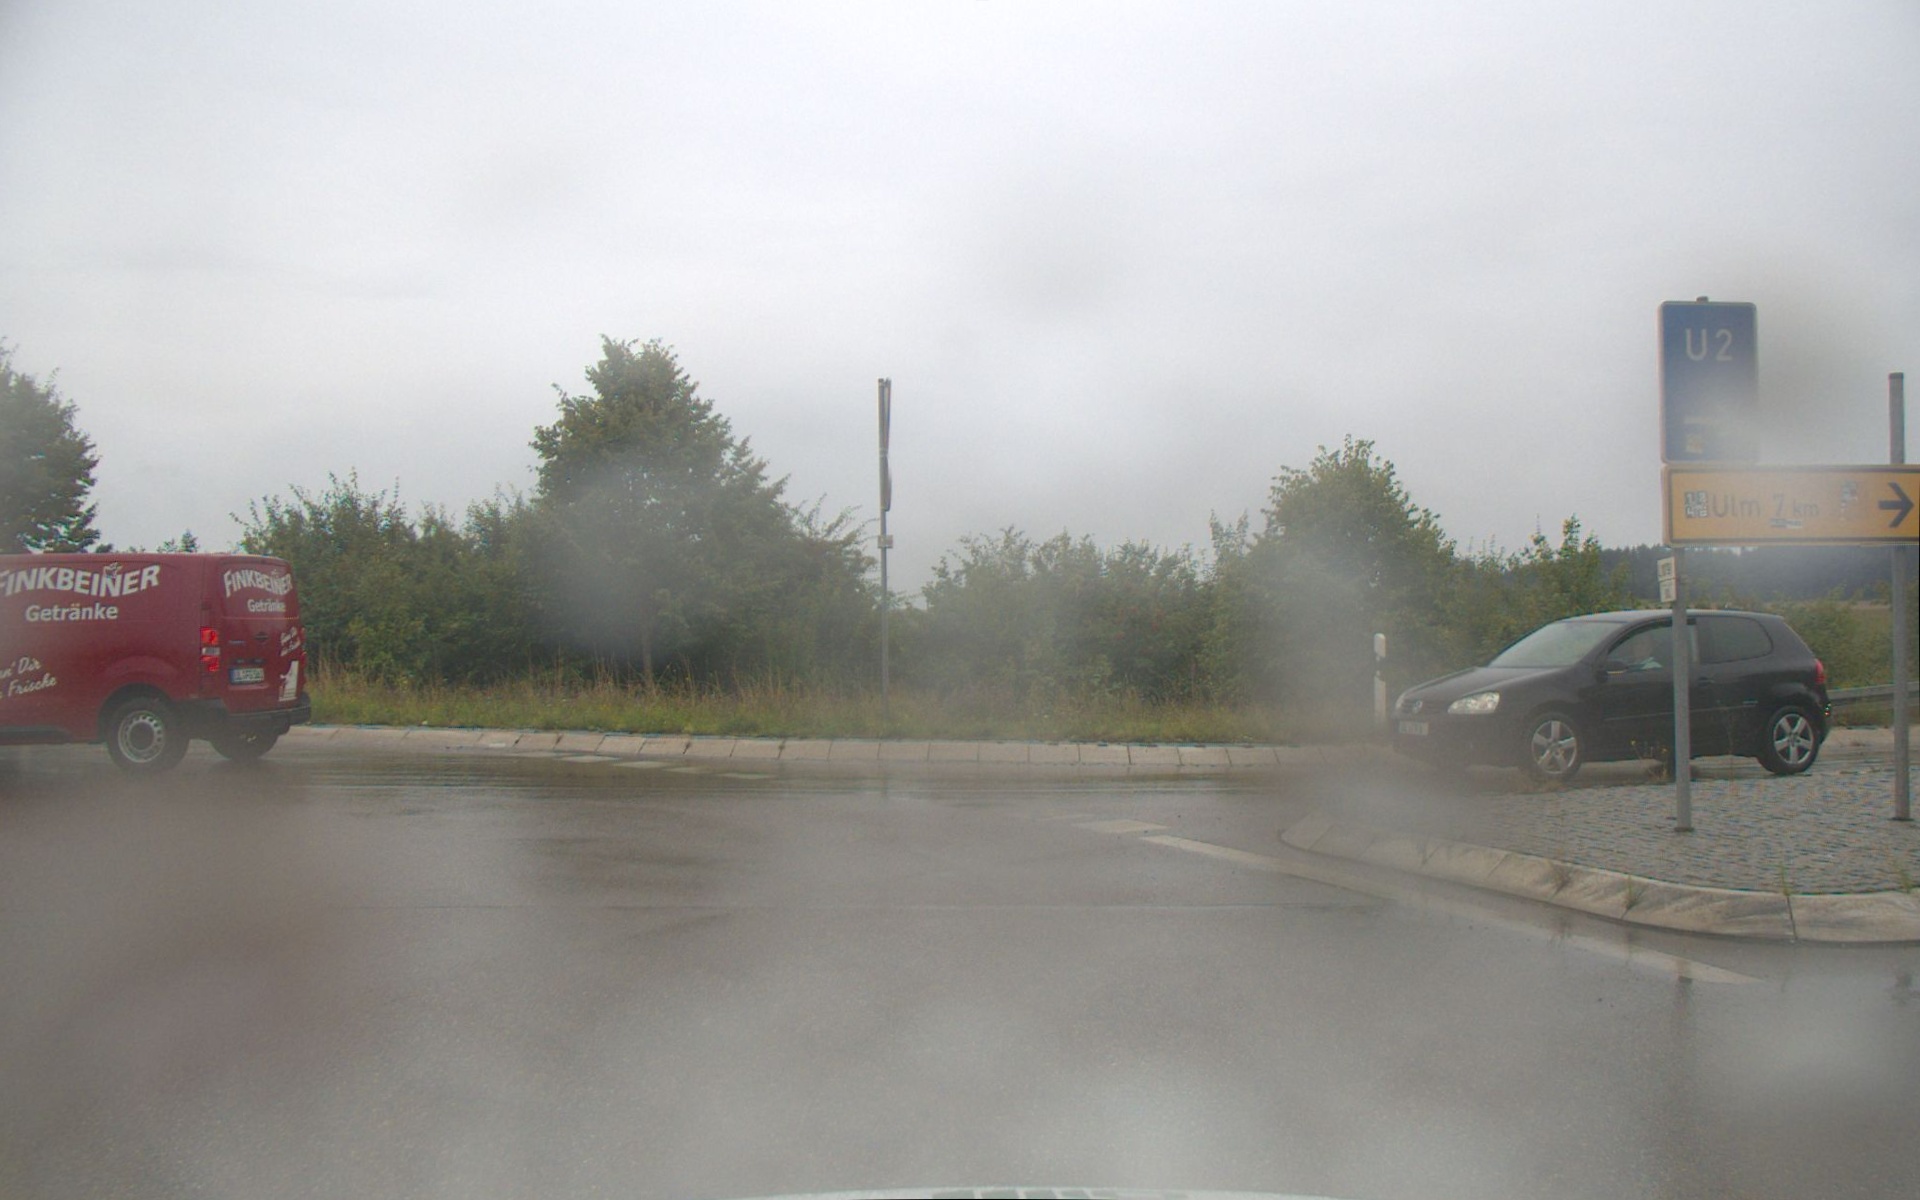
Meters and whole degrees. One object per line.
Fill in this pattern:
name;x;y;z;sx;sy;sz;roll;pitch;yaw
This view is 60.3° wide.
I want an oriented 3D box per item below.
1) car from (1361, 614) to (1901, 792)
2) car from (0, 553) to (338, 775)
car;6.104;0.883;15.145;4.417;1.446;1.866;1;0;-17
car;-8.556;0.556;15.272;4.858;1.903;2.001;0;0;3
